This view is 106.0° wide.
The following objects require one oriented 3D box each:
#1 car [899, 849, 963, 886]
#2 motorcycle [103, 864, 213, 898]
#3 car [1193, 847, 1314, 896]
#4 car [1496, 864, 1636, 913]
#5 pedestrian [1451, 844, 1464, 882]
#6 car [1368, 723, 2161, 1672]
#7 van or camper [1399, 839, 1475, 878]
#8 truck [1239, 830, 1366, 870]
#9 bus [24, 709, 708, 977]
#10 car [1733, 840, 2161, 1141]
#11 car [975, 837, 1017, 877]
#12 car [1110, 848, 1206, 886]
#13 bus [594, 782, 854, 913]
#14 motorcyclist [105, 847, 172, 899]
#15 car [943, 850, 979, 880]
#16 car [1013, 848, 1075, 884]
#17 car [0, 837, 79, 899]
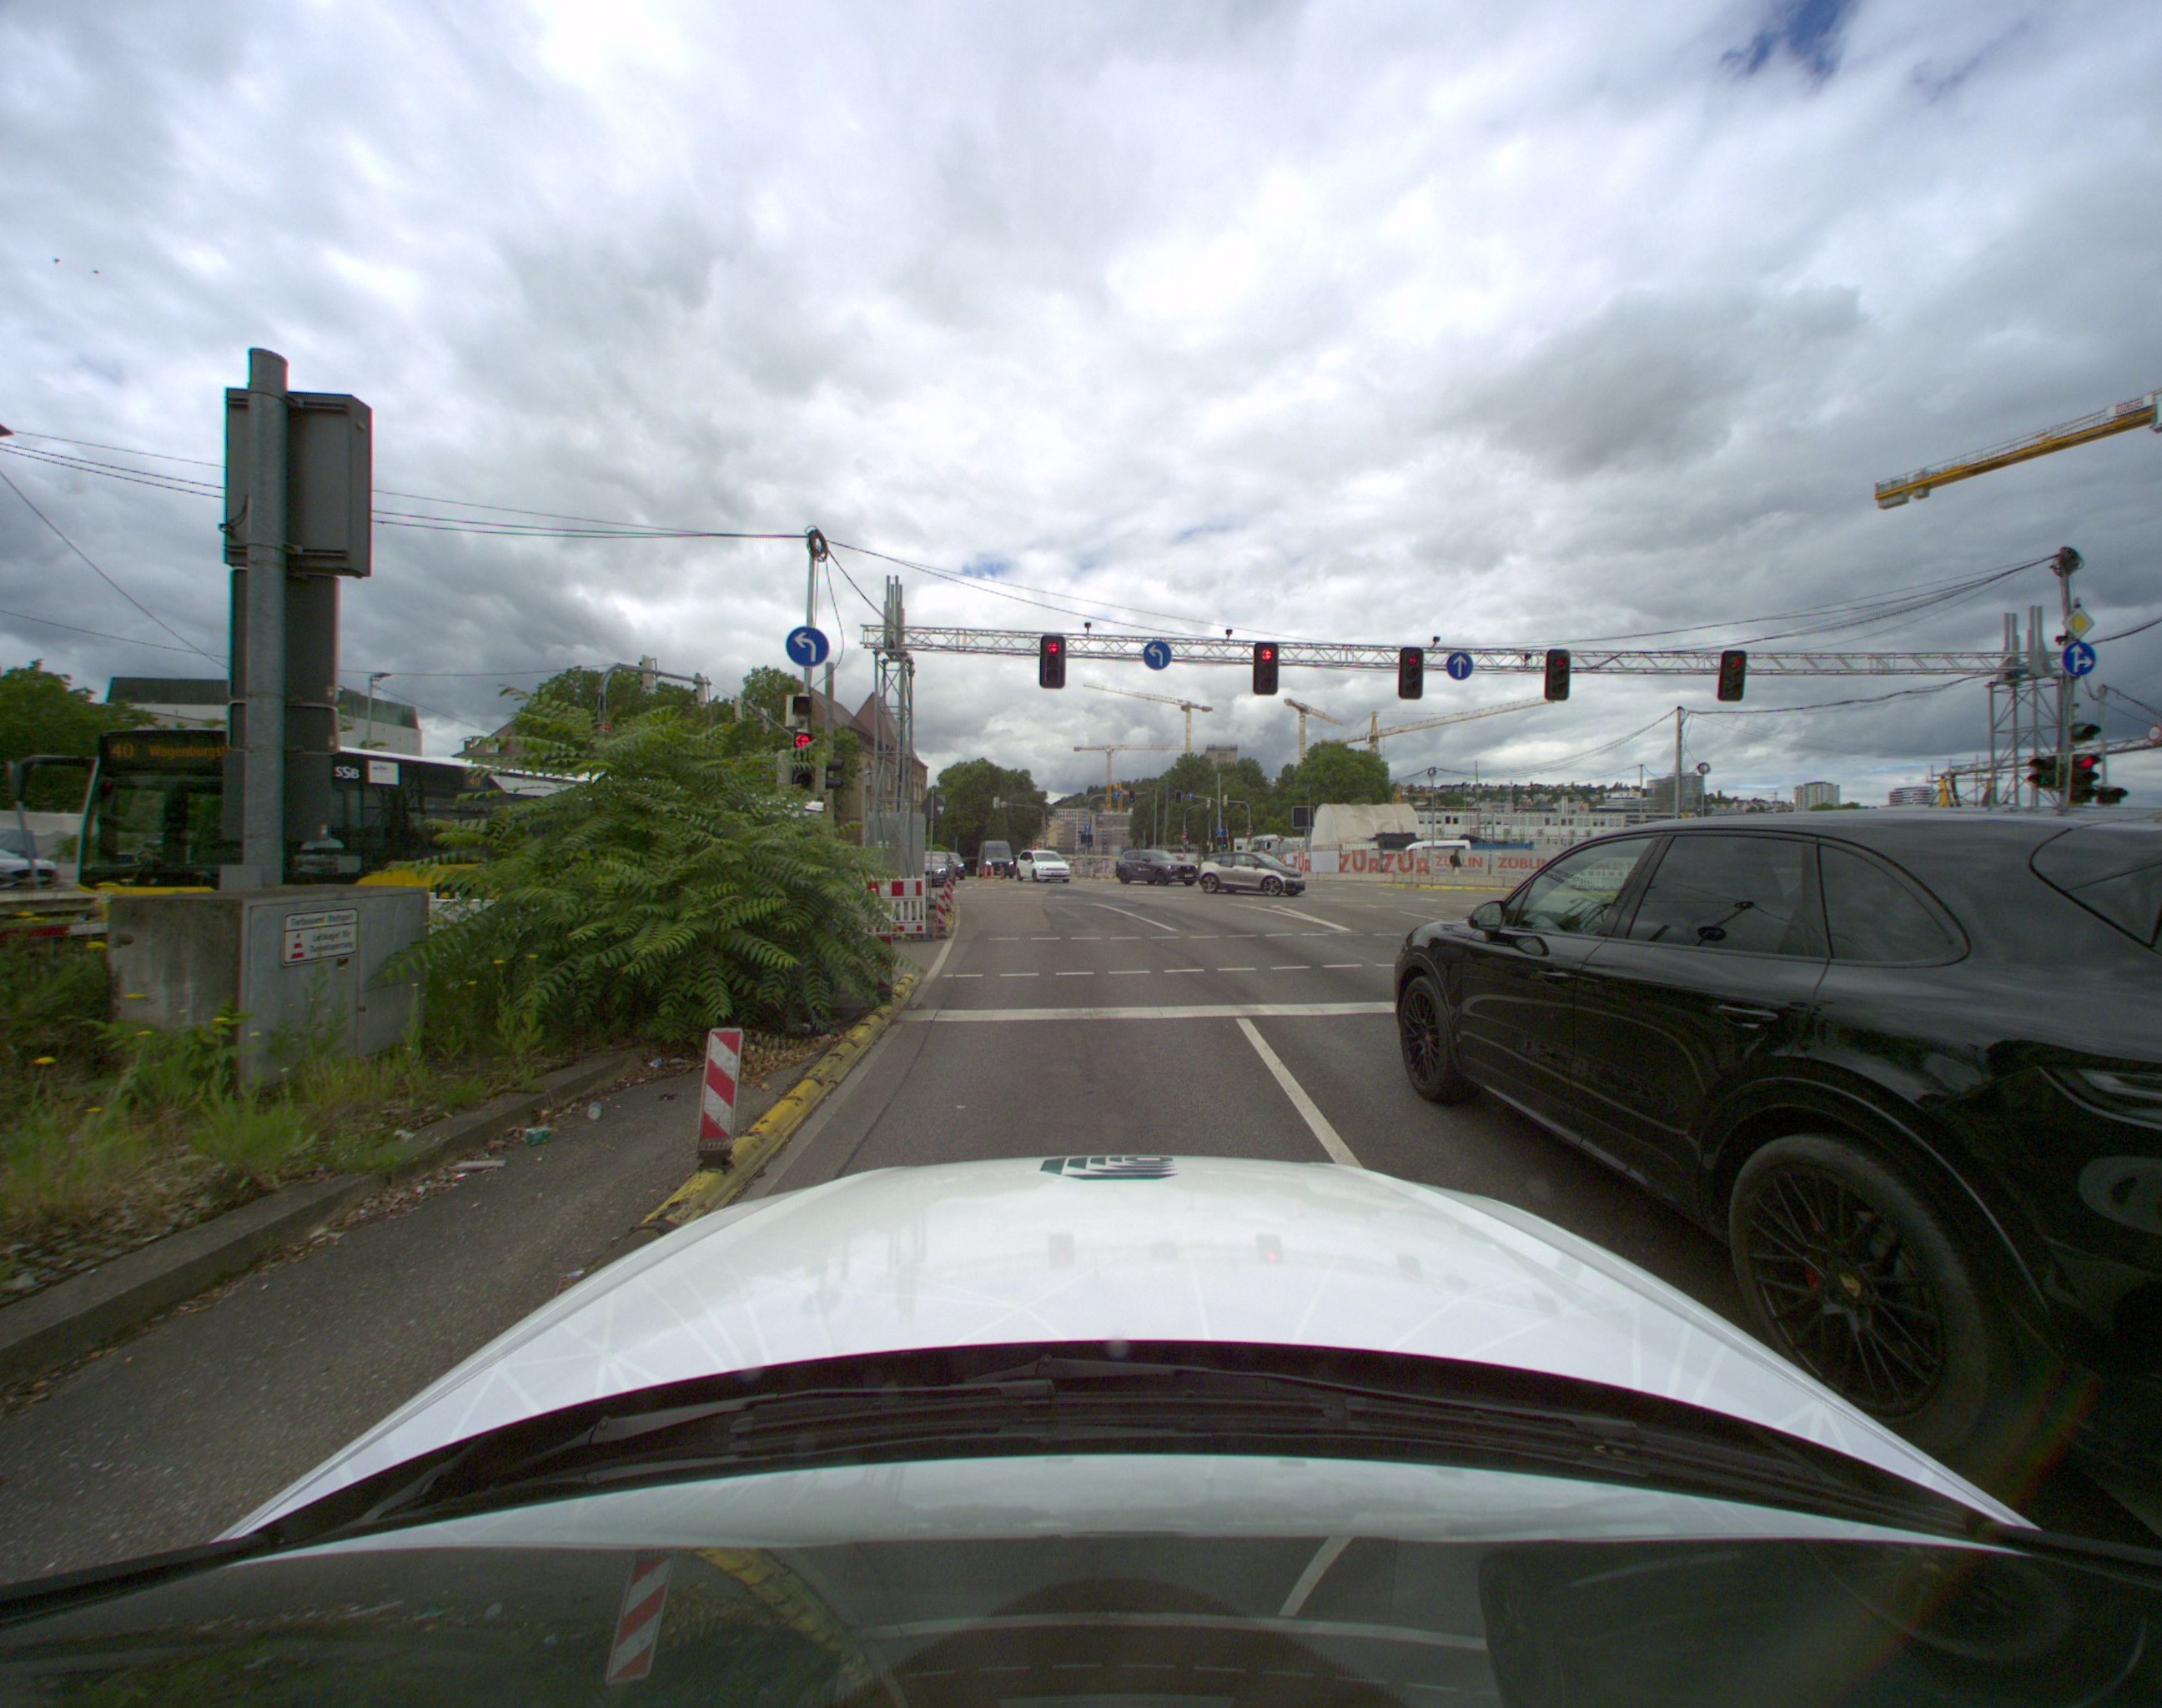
[{"bbox_3d":[-6.299,0.540,34.698,1.872,1.472,4.444,0,0,0],"label":"car"},{"bbox_3d":[-25.857,0.751,22.838,2.052,0.924,0.756,0,0,-5],"label":"motorcycle"},{"bbox_3d":[6.371,0.601,30.216,4.014,1.668,1.811,1,0,40],"label":"car"},{"bbox_3d":[17.329,1.208,29.218,4.044,1.668,1.798,0,0,-4],"label":"car"},{"bbox_3d":[20.283,0.495,43.905,0.645,2.013,0.520,0,0,25],"label":"pedestrian"},{"bbox_3d":[2.963,0.608,3.503,1.948,1.686,4.636,0,0,2],"label":"car"},{"bbox_3d":[22.293,0.252,51.151,4.182,2.357,2.008,0,0,15],"label":"van or camper"},{"bbox_3d":[23.361,-0.367,85.655,13.067,4.041,3.925,0,0,-20],"label":"truck"},{"bbox_3d":[-10.687,-0.148,14.442,2.831,3.114,9.764,0,0,6],"label":"bus"},{"bbox_3d":[6.405,0.703,5.085,1.657,1.543,3.883,0,0,2],"label":"car"},{"bbox_3d":[-5.985,0.195,56.502,2.060,2.594,5.984,0,0,-14],"label":"car"},{"bbox_3d":[3.607,0.559,38.766,1.894,1.670,4.556,0,0,-40],"label":"car"},{"bbox_3d":[-9.773,-0.170,23.930,2.831,3.114,9.137,0,0,6],"label":"bus"},{"bbox_3d":[-26.351,0.513,22.786,0.963,1.423,0.745,0,0,-5],"label":"motorcyclist"},{"bbox_3d":[-7.160,0.592,48.213,1.879,1.670,4.427,0,0,-11],"label":"car"},{"bbox_3d":[-1.951,0.546,41.868,1.885,1.736,4.413,0,0,-21],"label":"car"},{"bbox_3d":[-31.590,0.359,22.799,4.304,1.676,1.997,0,0,-4],"label":"car"}]
